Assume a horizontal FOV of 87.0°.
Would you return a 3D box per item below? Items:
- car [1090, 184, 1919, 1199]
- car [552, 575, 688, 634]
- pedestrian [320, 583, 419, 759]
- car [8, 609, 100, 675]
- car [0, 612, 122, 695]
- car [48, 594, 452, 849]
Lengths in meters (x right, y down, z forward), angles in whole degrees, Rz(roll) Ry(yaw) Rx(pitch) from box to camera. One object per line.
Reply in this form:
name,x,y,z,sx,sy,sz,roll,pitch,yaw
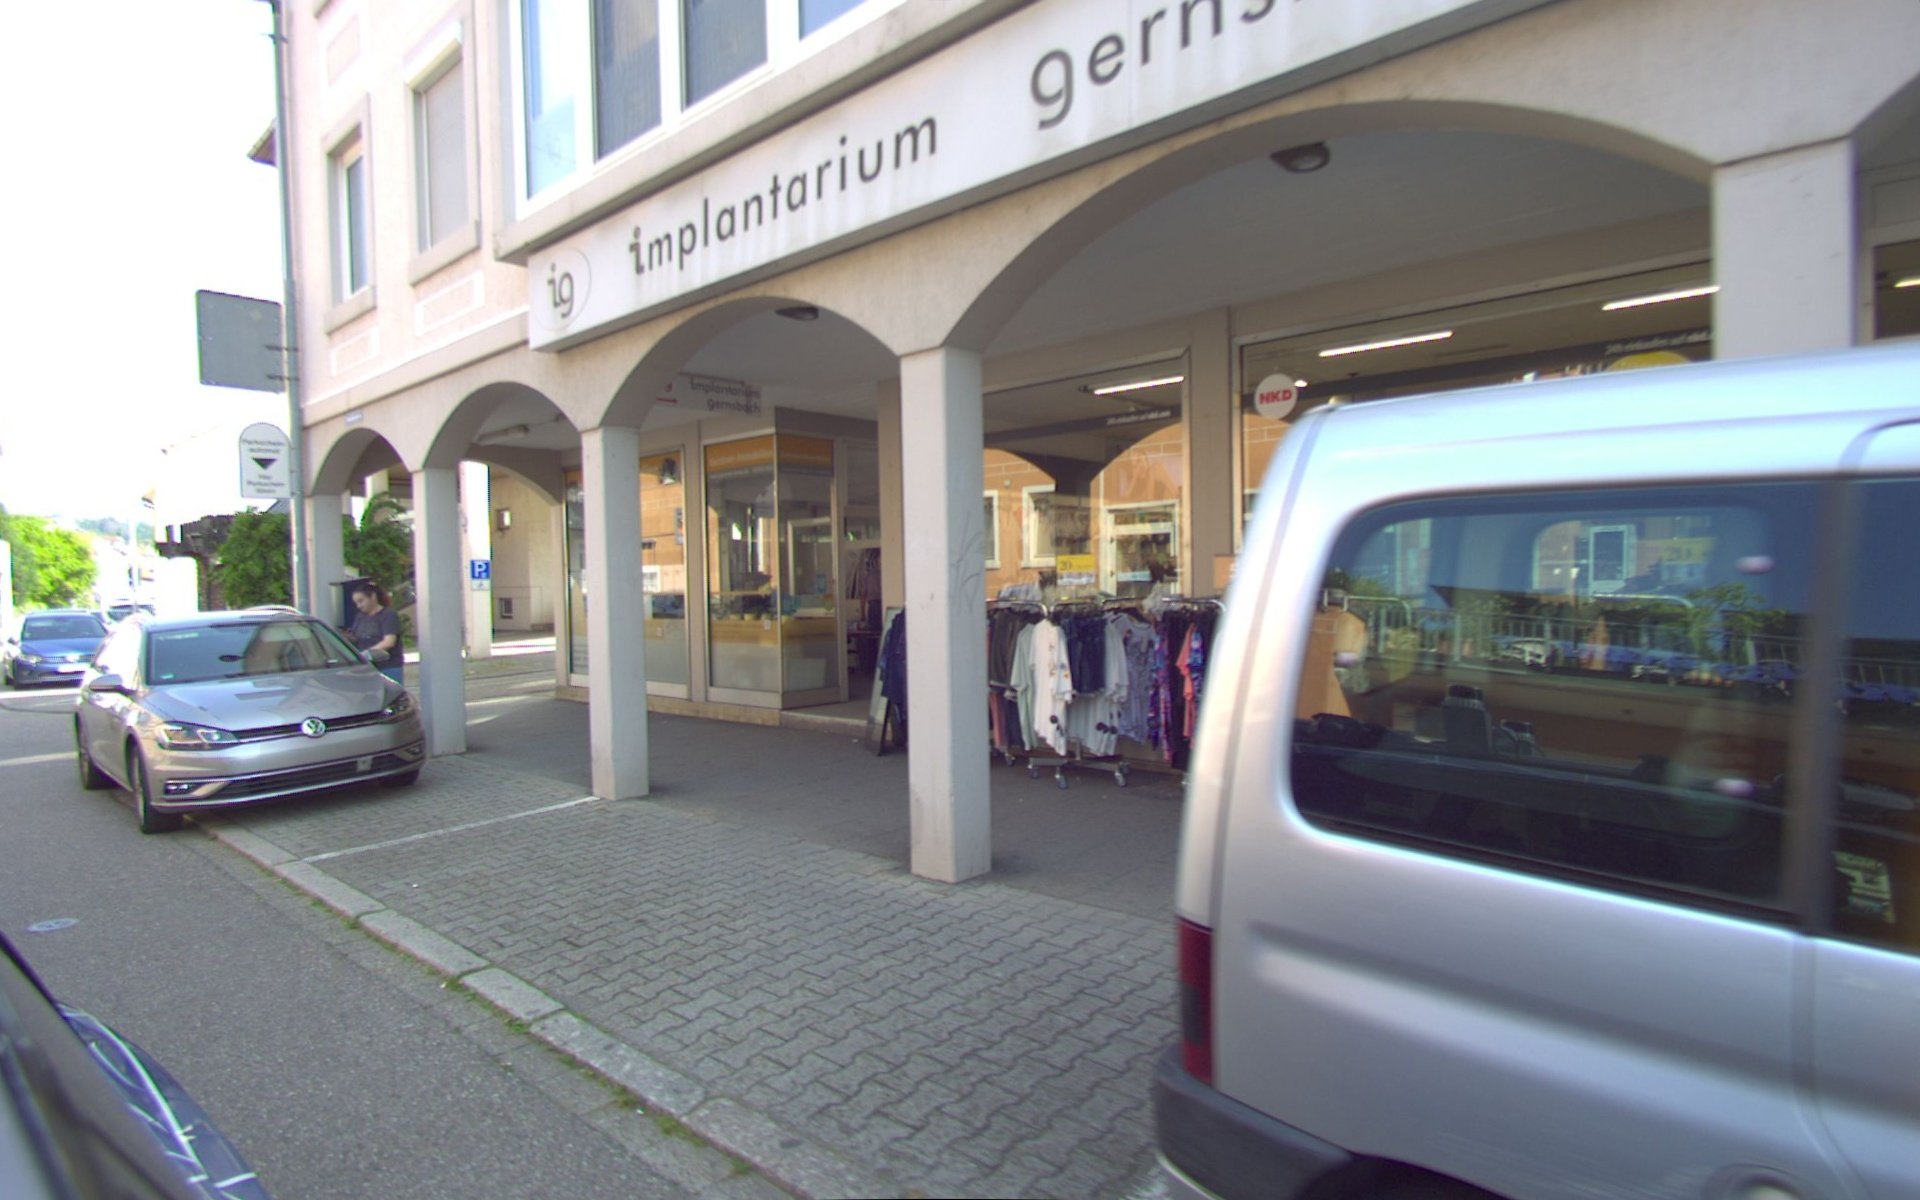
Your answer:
car,2.352,0.415,0.869,4.143,1.752,1.689,-2,2,40
car,-9.583,0.111,28.591,3.210,1.497,1.696,-3,1,-42
pedestrian,-5.512,0.634,9.452,0.534,1.563,0.615,-2,1,40
car,-25.402,1.140,28.490,1.657,1.681,3.978,-2,0,-38
car,-19.541,1.093,21.860,3.972,1.572,1.745,-1,0,44
car,-5.968,0.767,8.261,4.455,1.481,1.784,-1,1,43
